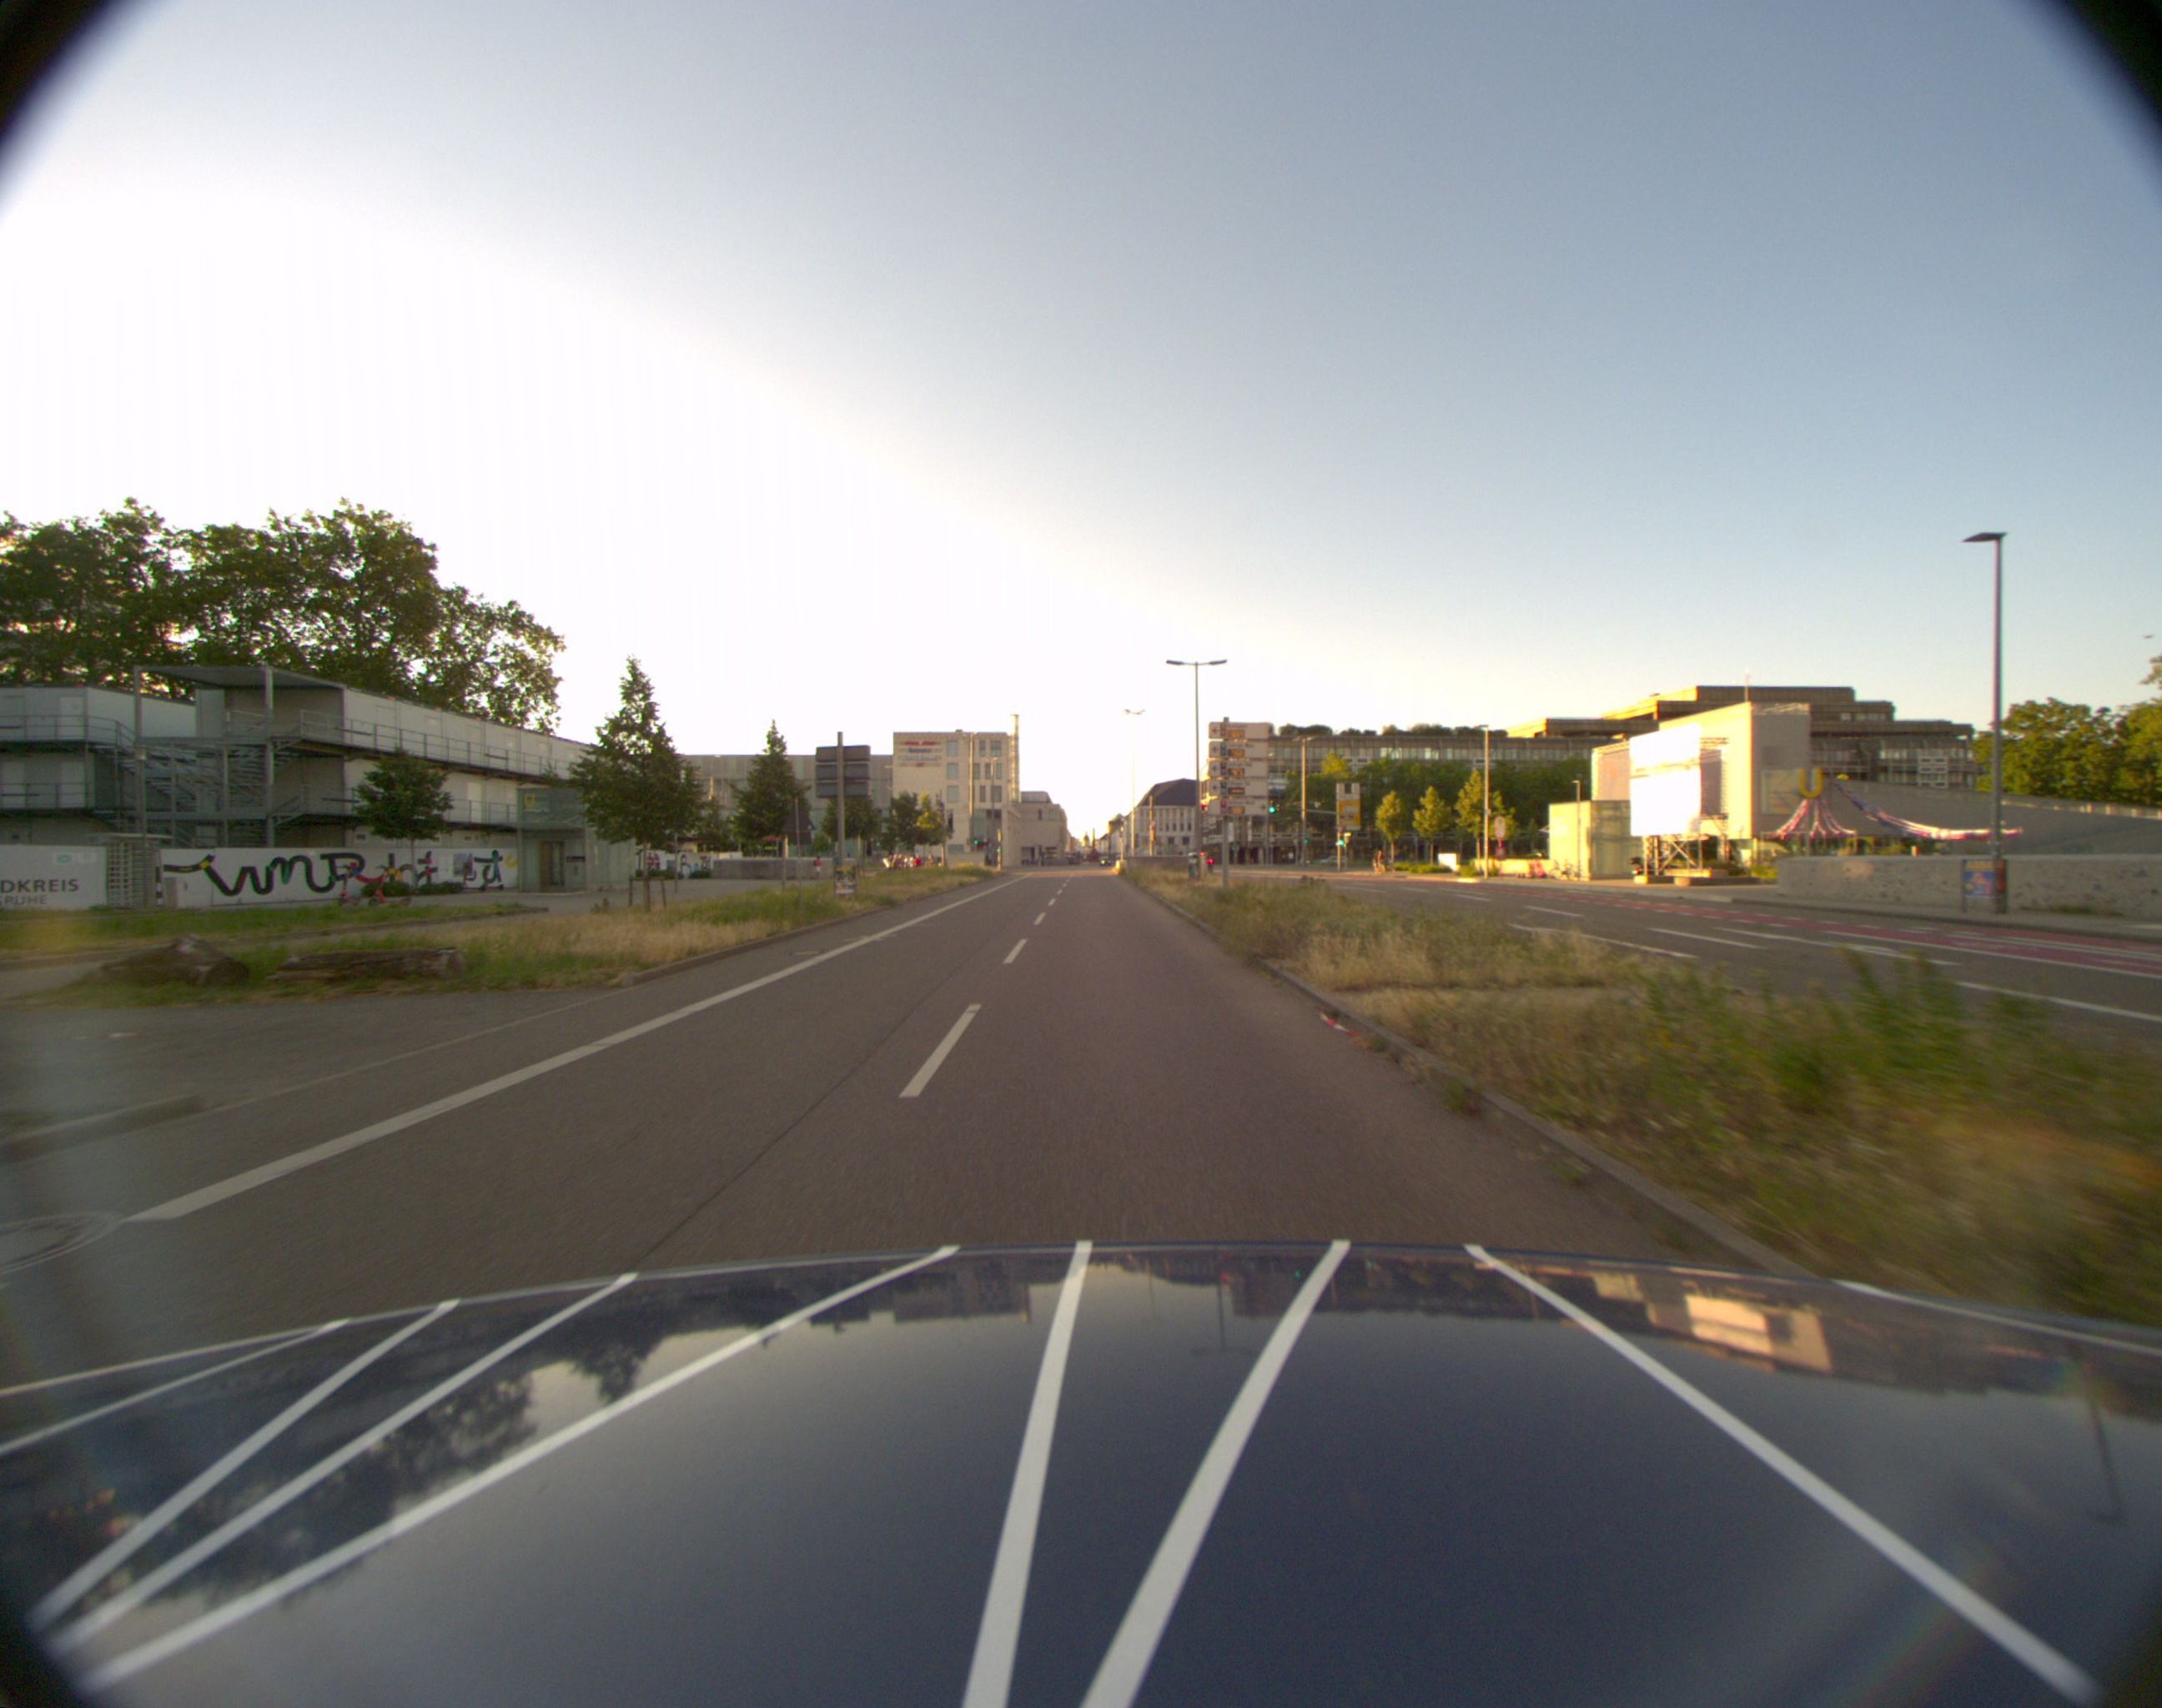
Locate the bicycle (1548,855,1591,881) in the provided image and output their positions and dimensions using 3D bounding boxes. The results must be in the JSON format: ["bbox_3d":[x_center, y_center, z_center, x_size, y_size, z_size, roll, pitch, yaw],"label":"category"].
[{"bbox_3d":[26.188,0.726,40.771,0.619,1.316,2.509,0,0,-2],"label":"bicycle"}]

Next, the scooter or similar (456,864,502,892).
[{"bbox_3d":[-27.092,1.083,34.199,1.573,1.213,0.474,-2,1,-2],"label":"scooter or similar"}]

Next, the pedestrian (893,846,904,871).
[{"bbox_3d":[-14.017,0.354,58.391,0.644,1.922,0.619,0,1,2],"label":"pedestrian"}]

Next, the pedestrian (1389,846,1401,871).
[{"bbox_3d":[24.384,0.344,59.022,0.661,1.922,0.648,0,0,2],"label":"pedestrian"}]

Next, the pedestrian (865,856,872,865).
[{"bbox_3d":[-22.883,0.725,81.879,0.650,0.957,0.654,0,1,-5],"label":"pedestrian"}]

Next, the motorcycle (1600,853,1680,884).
[{"bbox_3d":[26.981,0.696,36.701,3.241,1.375,0.840,-2,1,-2],"label":"motorcycle"}]

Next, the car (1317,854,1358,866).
[{"bbox_3d":[35.900,0.821,106.384,5.160,1.575,2.000,0,0,0],"label":"car"}]

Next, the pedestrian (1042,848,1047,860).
[{"bbox_3d":[-5.581,0.001,116.646,0.764,1.696,0.834,0,0,-2],"label":"pedestrian"}]

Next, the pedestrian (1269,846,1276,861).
[{"bbox_3d":[24.319,-0.062,96.552,0.644,1.920,0.681,0,1,-3],"label":"pedestrian"}]

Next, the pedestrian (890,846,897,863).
[{"bbox_3d":[-20.504,0.070,83.033,0.604,1.843,0.586,0,1,4],"label":"pedestrian"}]

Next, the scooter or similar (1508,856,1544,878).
[{"bbox_3d":[25.881,0.755,44.202,1.864,1.297,0.500,0,1,-6],"label":"scooter or similar"}]

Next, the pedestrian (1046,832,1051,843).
[{"bbox_3d":[-5.048,-2.531,118.777,0.764,1.696,0.834,0,0,1],"label":"pedestrian"}]

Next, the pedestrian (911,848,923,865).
[{"bbox_3d":[-18.283,0.222,84.545,0.892,1.843,1.007,3,2,12],"label":"pedestrian"}]

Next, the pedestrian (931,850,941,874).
[{"bbox_3d":[-11.394,0.623,59.536,0.644,1.922,0.619,0,1,0],"label":"pedestrian"}]

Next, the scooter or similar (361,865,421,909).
[{"bbox_3d":[-20.155,0.953,22.221,0.424,1.213,1.398,2,0,1],"label":"scooter or similar"}]

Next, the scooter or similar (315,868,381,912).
[{"bbox_3d":[-21.329,1.026,22.143,0.474,1.213,1.573,2,0,-6],"label":"scooter or similar"}]

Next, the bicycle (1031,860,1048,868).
[{"bbox_3d":[-6.941,1.700,127.353,2.804,1.208,0.765,0,0,9],"label":"bicycle"}]

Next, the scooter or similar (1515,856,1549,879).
[{"bbox_3d":[25.952,0.763,43.697,1.793,1.297,0.417,0,1,-6],"label":"scooter or similar"}]

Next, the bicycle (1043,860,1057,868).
[{"bbox_3d":[-5.640,1.827,137.135,2.508,1.316,0.619,0,1,0],"label":"bicycle"}]

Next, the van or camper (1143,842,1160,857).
[{"bbox_3d":[12.445,-0.765,134.491,2.233,2.650,6.162,0,-1,-3],"label":"van or camper"}]

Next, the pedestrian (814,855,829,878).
[{"bbox_3d":[-16.816,0.793,49.236,0.762,1.481,0.644,0,-1,0],"label":"pedestrian"}]

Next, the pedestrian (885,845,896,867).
[{"bbox_3d":[-15.143,0.177,60.294,0.644,1.702,0.762,0,0,1],"label":"pedestrian"}]

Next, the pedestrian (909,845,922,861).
[{"bbox_3d":[-18.196,-0.111,83.416,0.868,1.715,1.009,3,2,26],"label":"pedestrian"}]

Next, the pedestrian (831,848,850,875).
[{"bbox_3d":[-15.915,0.497,50.245,0.816,1.804,1.047,0,0,6],"label":"pedestrian"}]

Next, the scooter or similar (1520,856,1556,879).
[{"bbox_3d":[25.983,0.759,43.213,1.836,1.297,0.423,0,1,-6],"label":"scooter or similar"}]

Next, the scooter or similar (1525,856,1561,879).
[{"bbox_3d":[26.019,0.755,42.772,1.841,1.297,0.423,0,1,-6],"label":"scooter or similar"}]

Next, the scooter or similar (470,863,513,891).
[{"bbox_3d":[-27.160,1.067,35.015,1.573,1.213,0.474,-2,1,-2],"label":"scooter or similar"}]

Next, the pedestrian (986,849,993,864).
[{"bbox_3d":[-10.252,0.301,85.108,0.644,1.650,0.871,-1,0,1],"label":"pedestrian"}]

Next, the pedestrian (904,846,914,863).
[{"bbox_3d":[-19.218,0.085,84.906,0.896,1.843,0.724,1,2,-33],"label":"pedestrian"}]

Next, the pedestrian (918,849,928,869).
[{"bbox_3d":[-13.206,0.422,63.517,0.644,1.703,0.871,0,1,1],"label":"pedestrian"}]

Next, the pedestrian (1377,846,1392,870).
[{"bbox_3d":[23.582,0.304,59.079,0.874,1.826,0.775,0,1,1],"label":"pedestrian"}]

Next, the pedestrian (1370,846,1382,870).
[{"bbox_3d":[23.335,0.313,60.100,0.633,1.922,0.775,0,1,-3],"label":"pedestrian"}]

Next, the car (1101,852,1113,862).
[{"bbox_3d":[4.318,0.441,127.535,2.071,1.641,3.999,0,1,1],"label":"car"}]
